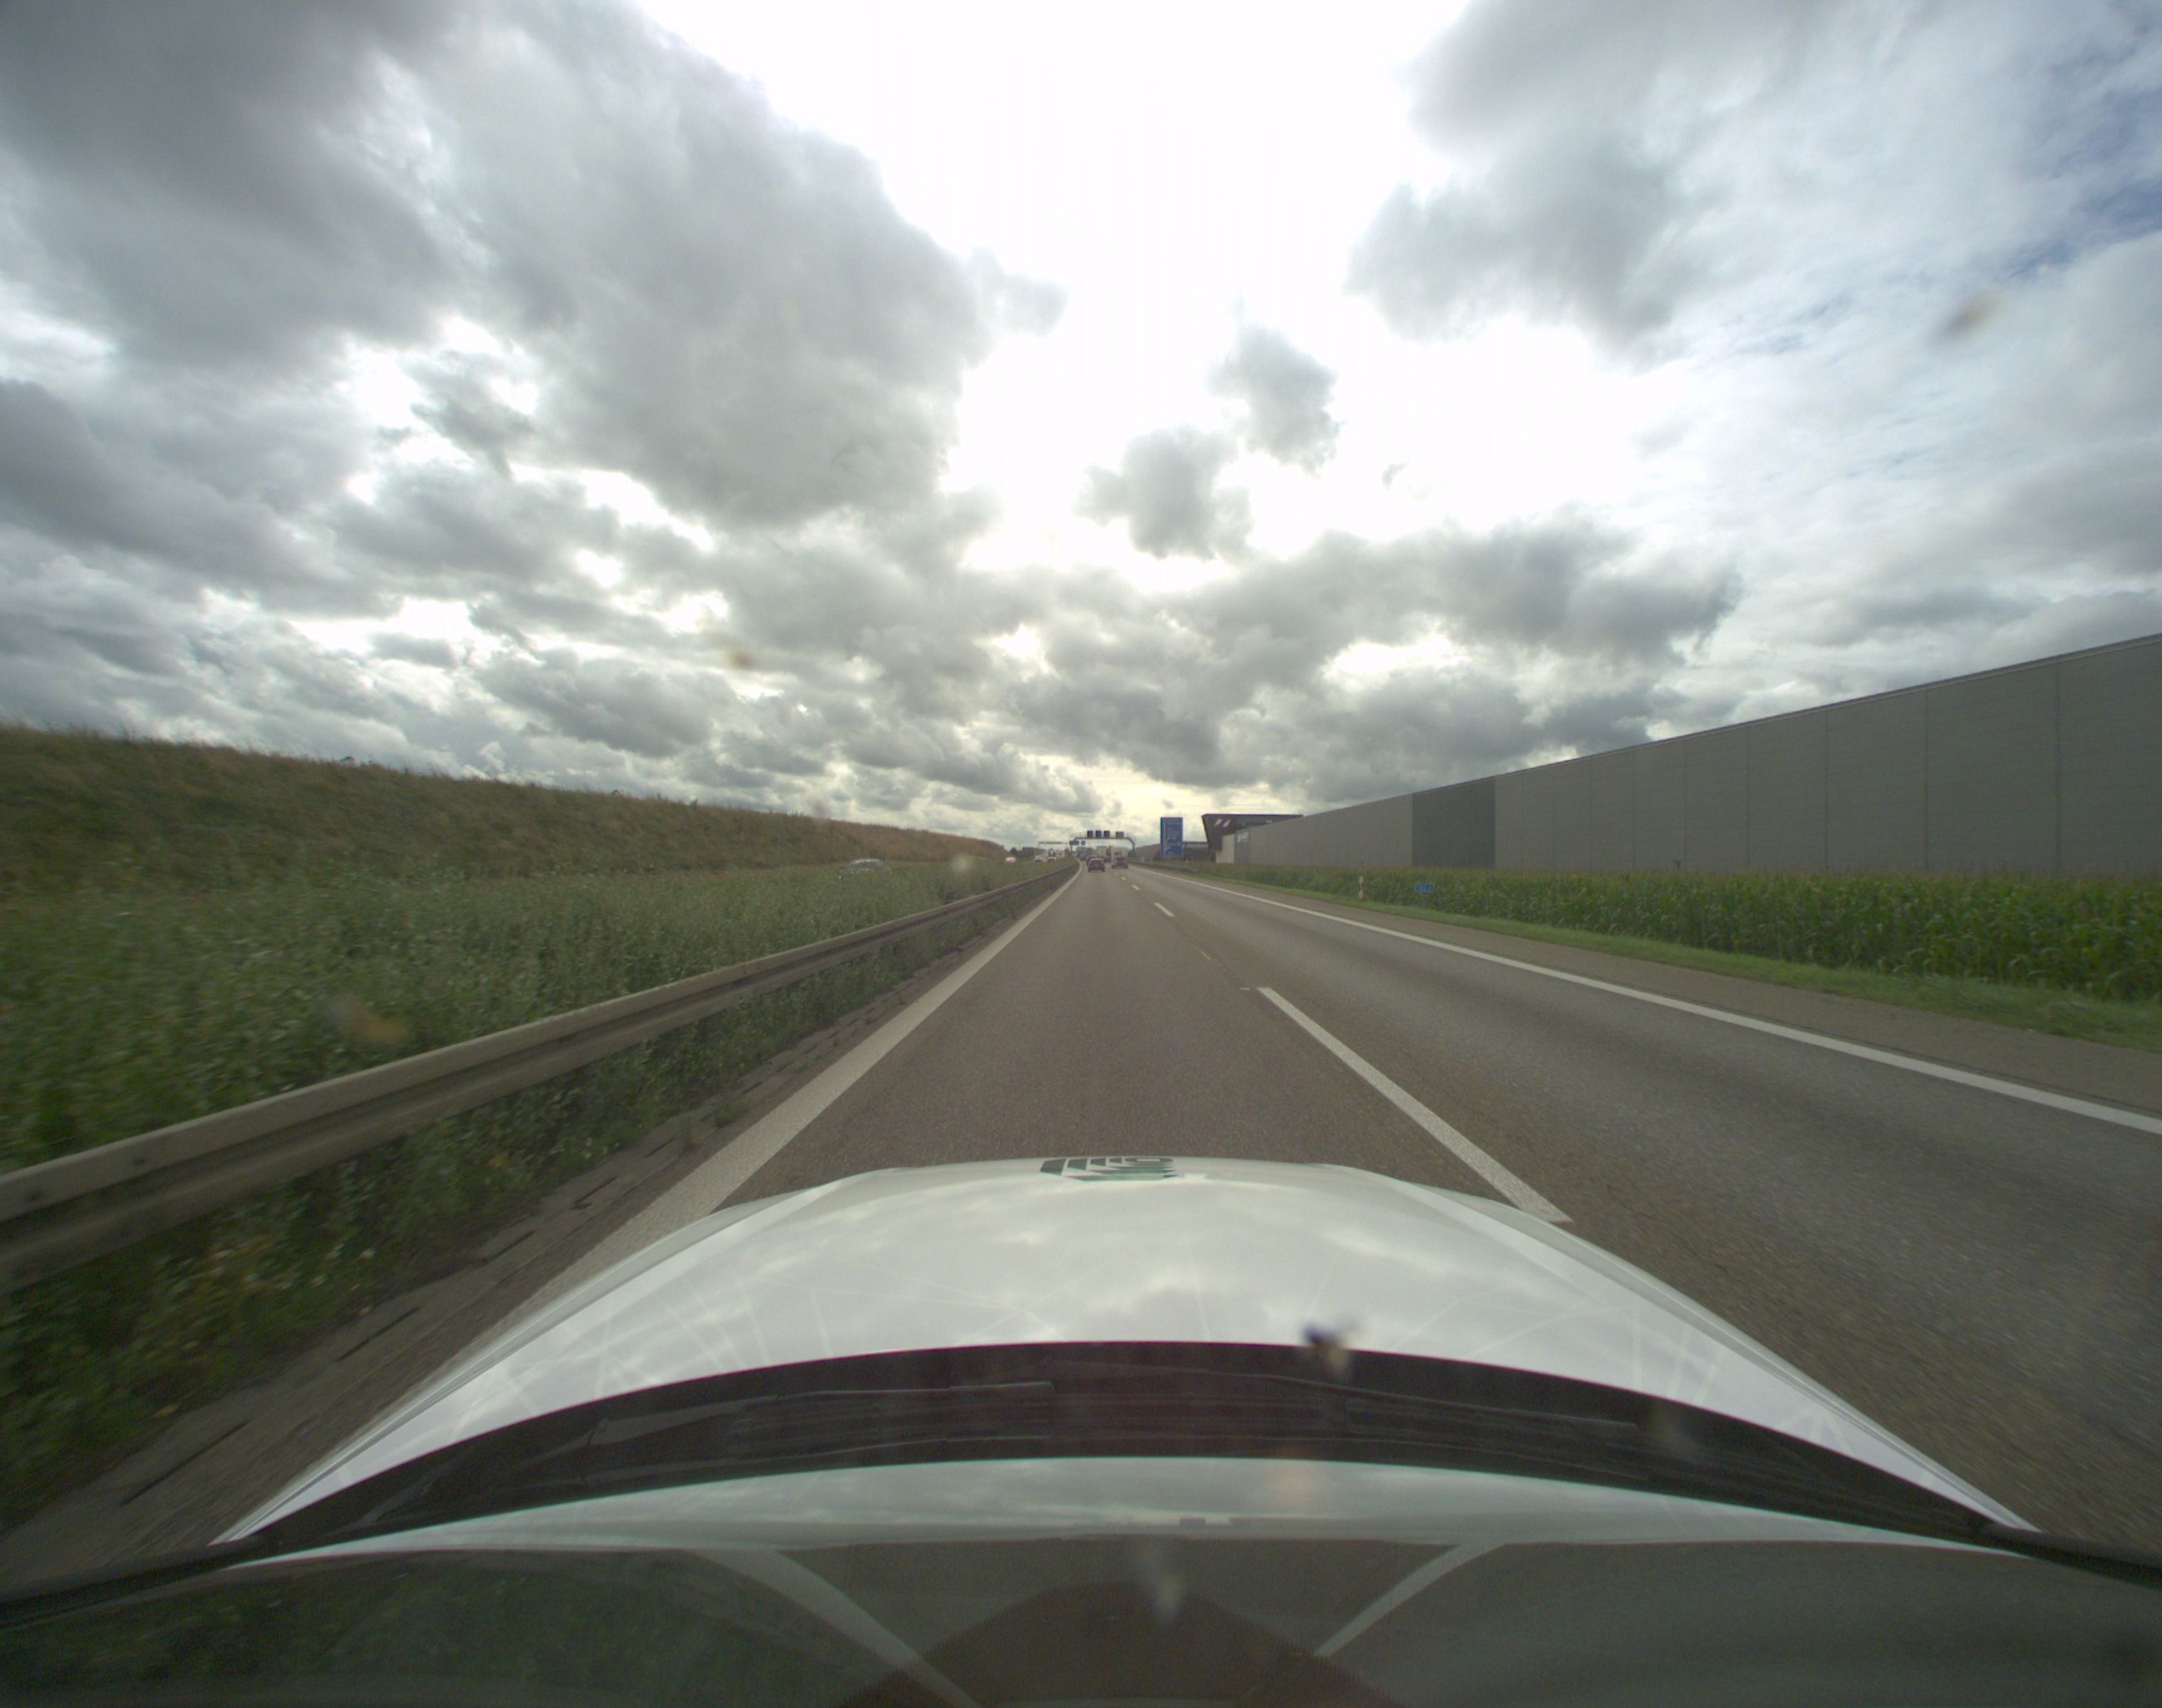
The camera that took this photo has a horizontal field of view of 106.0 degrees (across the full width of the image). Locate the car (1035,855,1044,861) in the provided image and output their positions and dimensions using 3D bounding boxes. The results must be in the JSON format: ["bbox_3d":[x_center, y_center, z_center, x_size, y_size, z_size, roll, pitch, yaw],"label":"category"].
[{"bbox_3d":[-9.667,0.950,188.438,1.766,1.454,4.001,0,-1,1],"label":"car"}]

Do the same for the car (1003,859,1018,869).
[{"bbox_3d":[-10.212,1.481,118.149,1.718,1.403,4.343,0,-1,1],"label":"car"}]

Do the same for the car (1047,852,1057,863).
[{"bbox_3d":[-6.250,0.772,177.534,1.987,2.348,5.870,0,-1,0],"label":"car"}]

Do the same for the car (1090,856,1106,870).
[{"bbox_3d":[1.859,0.949,88.192,1.740,1.453,4.001,0,-1,2],"label":"car"}]

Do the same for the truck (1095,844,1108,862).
[{"bbox_3d":[5.437,-0.230,220.198,3.329,4.534,8.014,0,-1,-1],"label":"truck"}]

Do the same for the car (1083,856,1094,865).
[{"bbox_3d":[1.290,1.122,140.824,1.938,1.685,4.001,0,-1,1],"label":"car"}]

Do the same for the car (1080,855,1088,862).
[{"bbox_3d":[0.756,1.163,219.106,1.936,1.775,3.697,0,-1,1],"label":"car"}]

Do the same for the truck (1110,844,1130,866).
[{"bbox_3d":[5.395,0.130,114.442,2.474,2.950,5.812,0,-1,-1],"label":"truck"}]

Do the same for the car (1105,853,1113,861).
[{"bbox_3d":[6.023,0.702,174.864,1.795,1.685,4.001,0,-1,1],"label":"car"}]

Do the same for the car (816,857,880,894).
[{"bbox_3d":[-11.081,0.988,39.001,1.810,1.702,4.001,0,-1,2],"label":"car"}]

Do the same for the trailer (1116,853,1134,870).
[{"bbox_3d":[5.782,1.015,107.674,2.330,2.136,4.001,0,-1,1],"label":"trailer"}]
